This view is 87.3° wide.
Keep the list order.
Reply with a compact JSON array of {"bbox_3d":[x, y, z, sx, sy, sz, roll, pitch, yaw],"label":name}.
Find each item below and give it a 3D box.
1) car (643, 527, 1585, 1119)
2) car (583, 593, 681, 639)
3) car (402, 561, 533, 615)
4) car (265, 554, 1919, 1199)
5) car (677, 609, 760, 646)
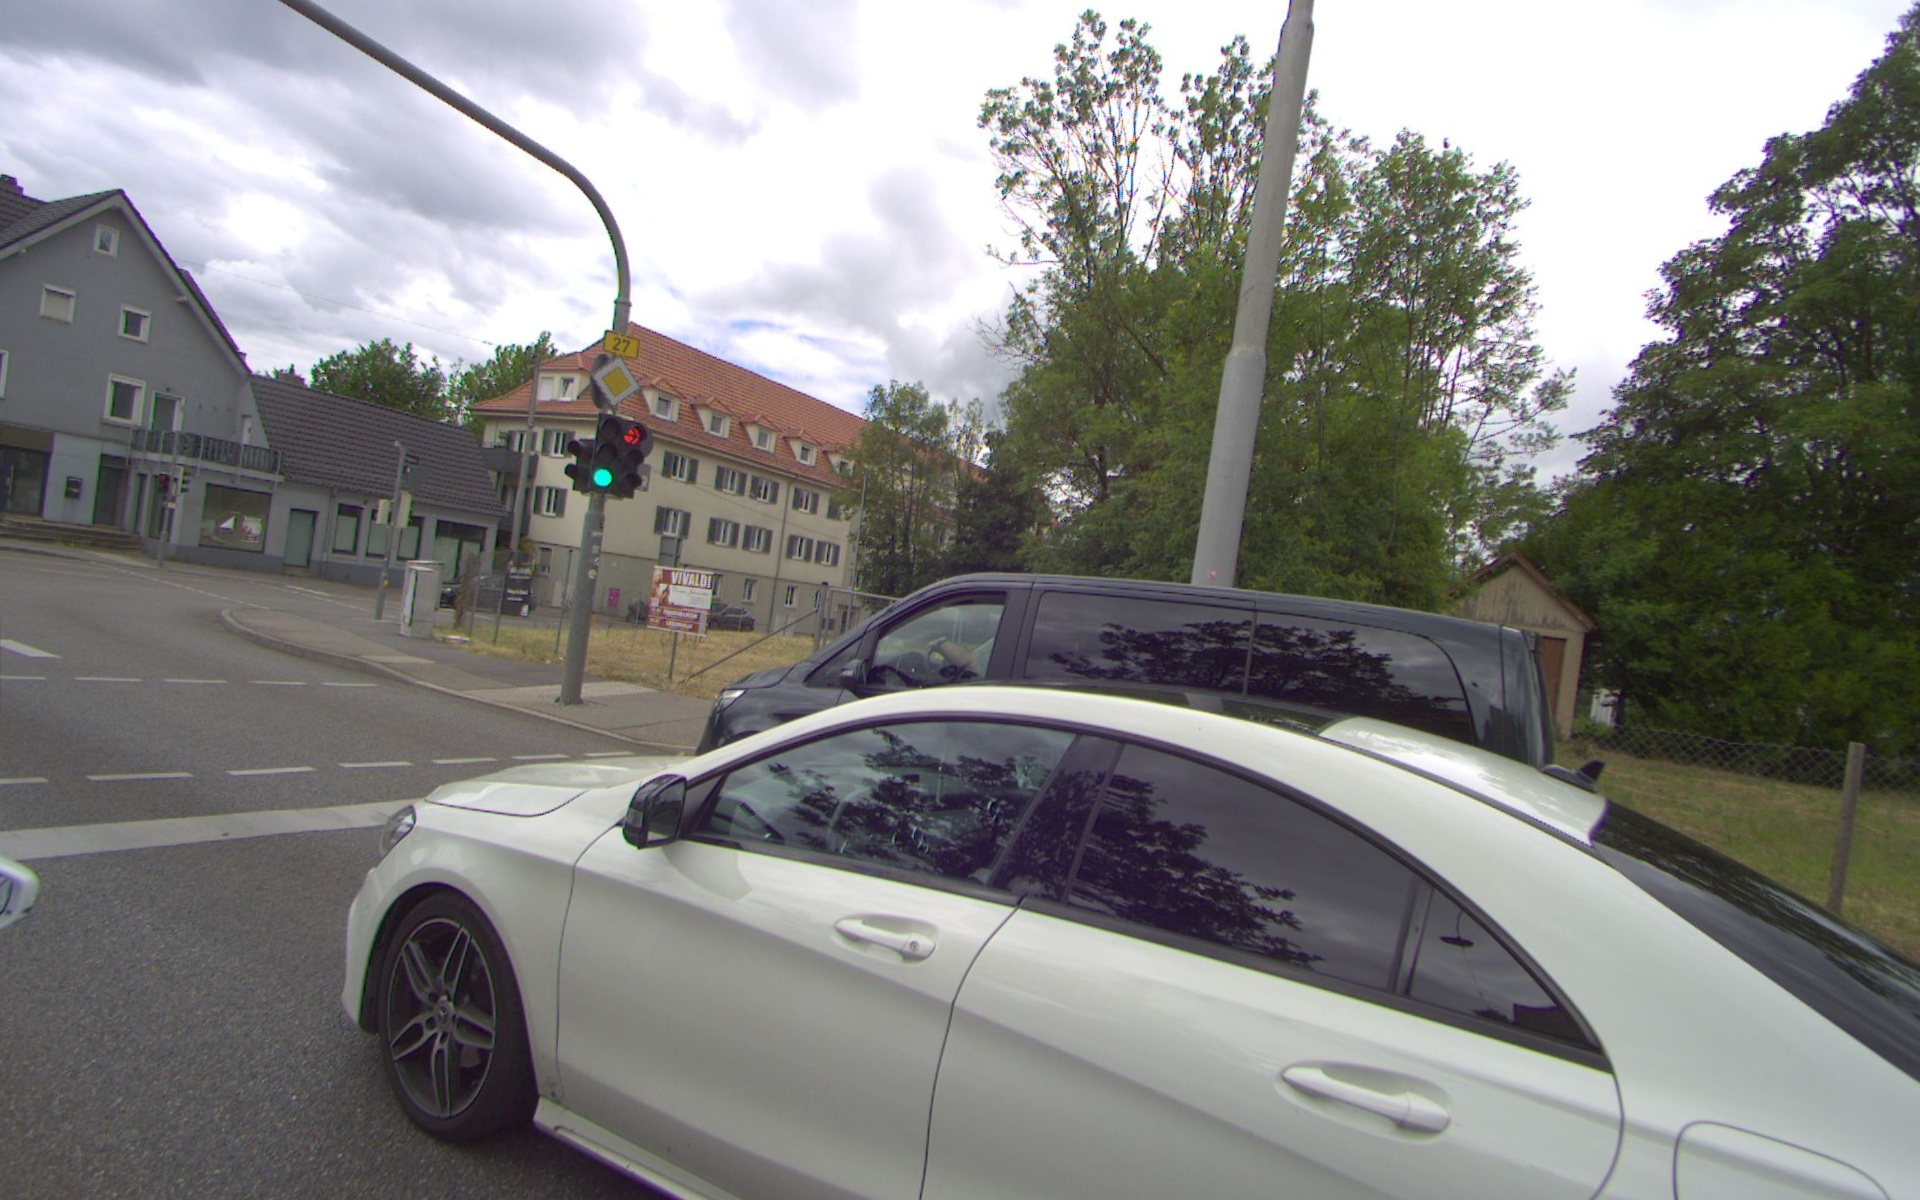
[{"bbox_3d":[0.672,0.816,5.670,4.631,1.860,1.953,7,-2,32],"label":"car"},{"bbox_3d":[-15.470,0.784,47.624,1.839,1.554,3.996,7,-2,32],"label":"car"},{"bbox_3d":[-18.429,-0.430,37.826,1.838,1.393,3.998,7,-2,29],"label":"car"},{"bbox_3d":[0.215,0.857,2.605,4.305,1.451,1.651,7,0,32],"label":"car"},{"bbox_3d":[-12.575,1.446,52.613,1.839,1.393,3.996,7,-2,32],"label":"car"}]
